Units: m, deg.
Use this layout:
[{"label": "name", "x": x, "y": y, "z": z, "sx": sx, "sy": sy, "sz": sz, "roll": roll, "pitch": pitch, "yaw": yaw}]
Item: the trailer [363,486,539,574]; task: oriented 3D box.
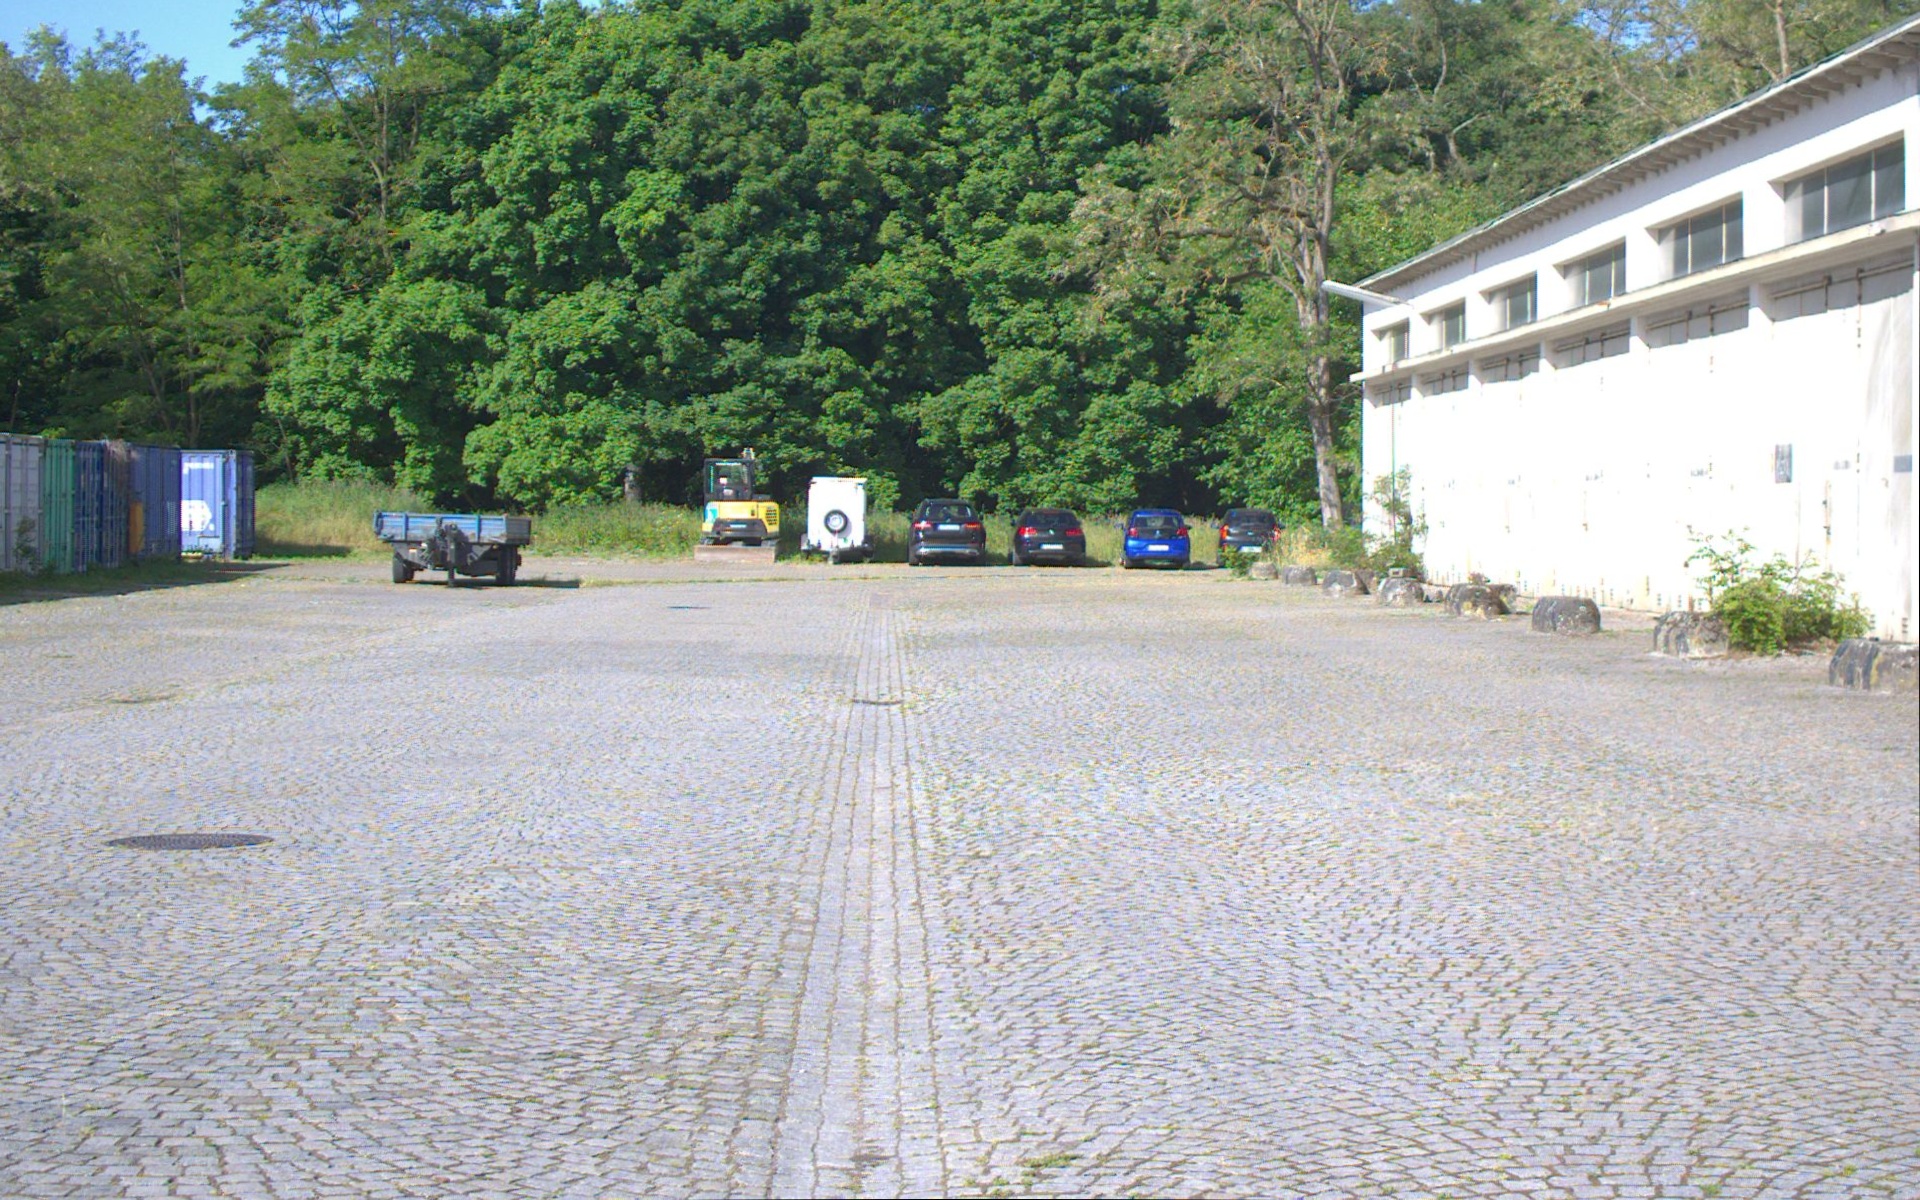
[{"label": "trailer", "x": -9.839, "y": -1.376, "z": 66.932, "sx": 2.791, "sy": 1.640, "sz": 5.621, "roll": 0, "pitch": 2, "yaw": -2}]

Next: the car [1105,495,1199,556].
[{"label": "car", "x": 4.700, "y": -1.863, "z": 84.838, "sx": 1.993, "sy": 1.461, "sz": 4.001, "roll": 0, "pitch": 2, "yaw": -1}]

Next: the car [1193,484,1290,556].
[{"label": "car", "x": 7.034, "y": -2.010, "z": 86.115, "sx": 1.993, "sy": 1.766, "sz": 4.001, "roll": 0, "pitch": 2, "yaw": -1}]

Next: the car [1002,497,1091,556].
[{"label": "car", "x": 2.108, "y": -1.834, "z": 84.809, "sx": 1.993, "sy": 1.419, "sz": 4.001, "roll": 0, "pitch": 2, "yaw": -1}]

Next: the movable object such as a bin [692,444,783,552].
[{"label": "movable object such as a bin", "x": -5.589, "y": -2.560, "z": 86.290, "sx": 2.231, "sy": 2.648, "sz": 4.001, "roll": 0, "pitch": 2, "yaw": -4}]

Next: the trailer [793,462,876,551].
[{"label": "trailer", "x": -3.109, "y": -2.328, "z": 85.576, "sx": 1.993, "sy": 2.154, "sz": 4.432, "roll": 0, "pitch": 2, "yaw": -2}]

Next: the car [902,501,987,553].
[{"label": "car", "x": -0.412, "y": -1.808, "z": 84.398, "sx": 1.993, "sy": 1.254, "sz": 4.001, "roll": 0, "pitch": 2, "yaw": -1}]
